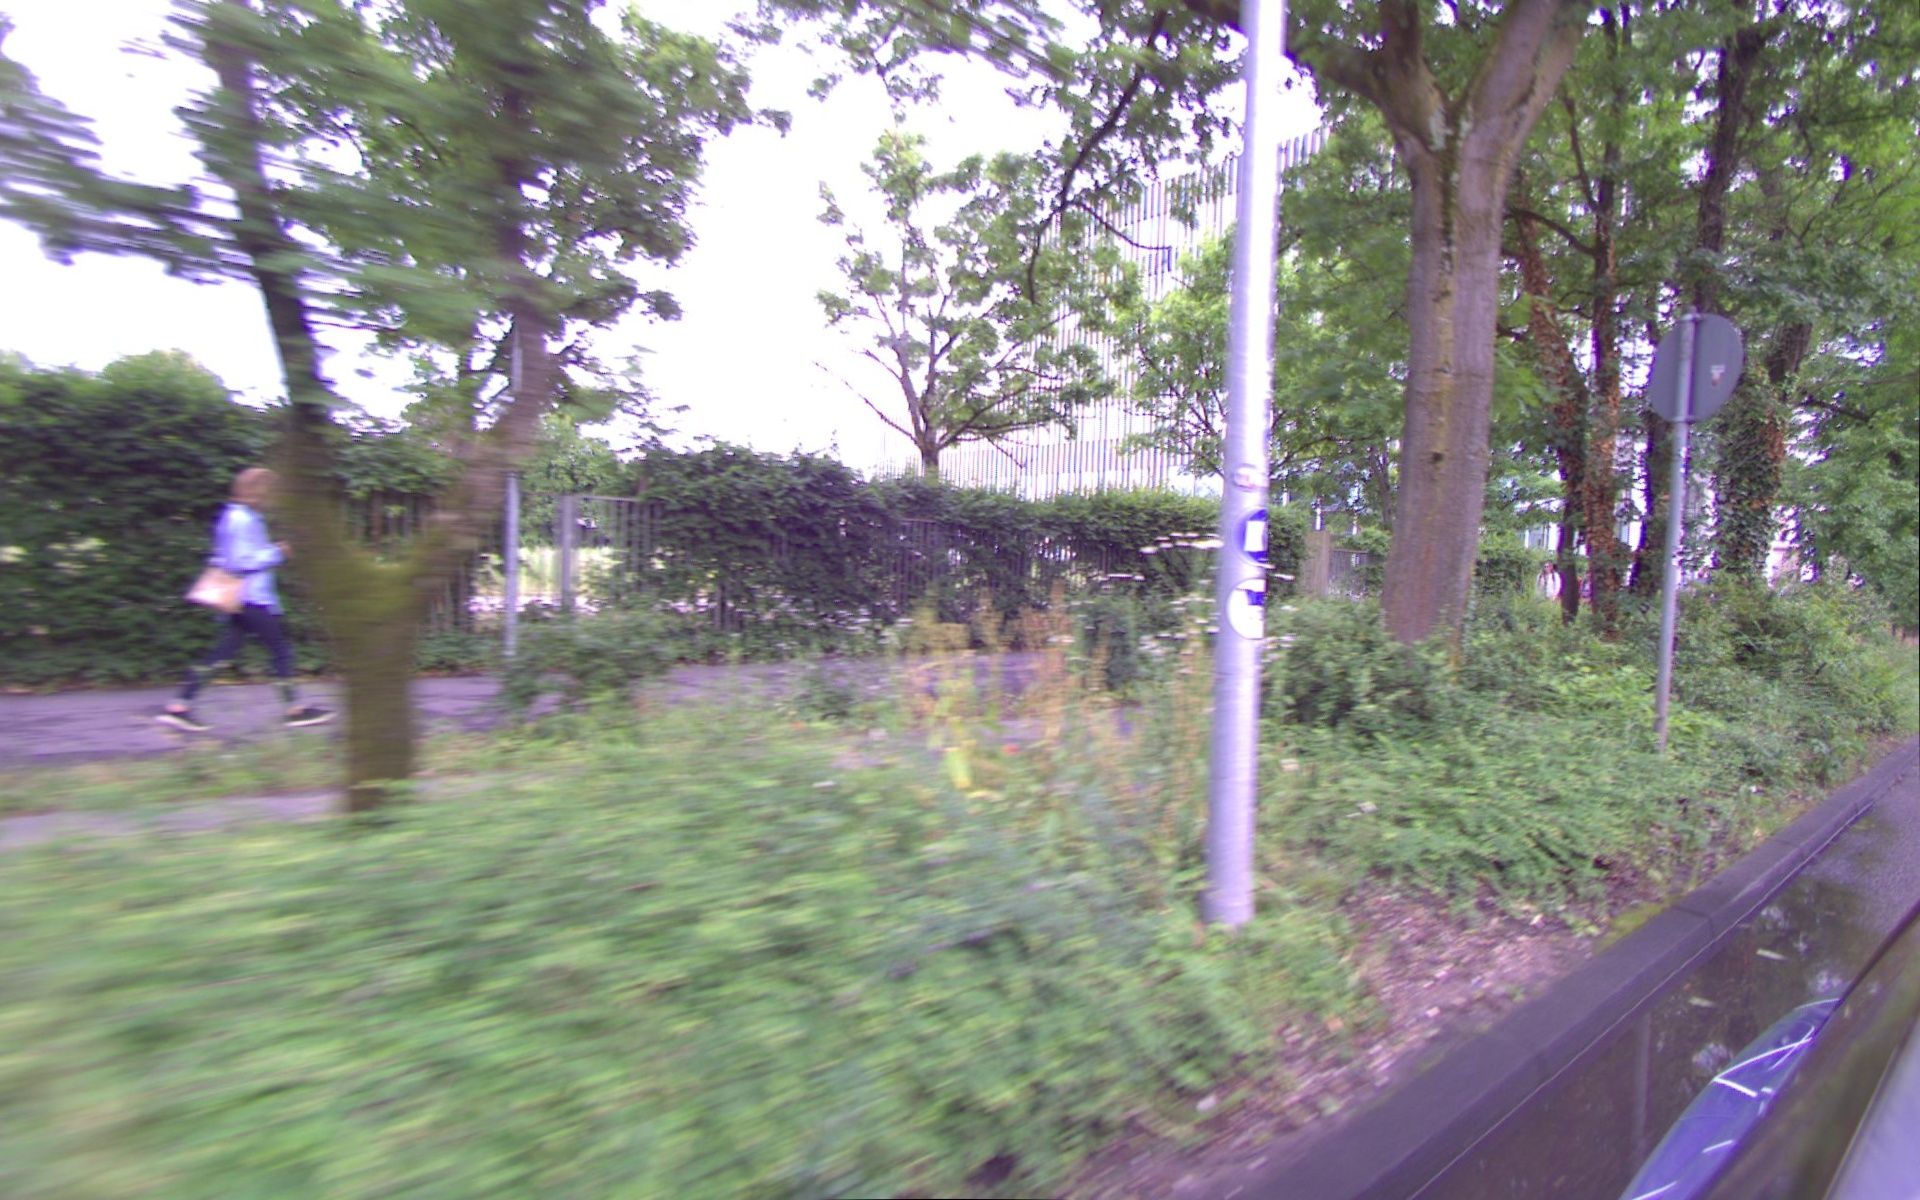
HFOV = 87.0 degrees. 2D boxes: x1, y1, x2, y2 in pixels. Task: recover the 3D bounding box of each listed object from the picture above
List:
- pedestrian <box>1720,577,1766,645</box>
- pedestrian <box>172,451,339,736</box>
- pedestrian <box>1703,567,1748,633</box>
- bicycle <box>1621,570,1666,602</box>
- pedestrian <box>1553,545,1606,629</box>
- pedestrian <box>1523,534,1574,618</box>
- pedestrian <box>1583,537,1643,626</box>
[{"bbox_3d":[24.594,0.336,31.776,1.023,2.038,0.926,0,3,-45],"label":"pedestrian"},{"bbox_3d":[-4.472,-0.053,6.424,0.806,1.671,0.574,0,3,-41],"label":"pedestrian"},{"bbox_3d":[24.470,-0.001,32.366,1.023,2.038,0.926,0,3,-45],"label":"pedestrian"},{"bbox_3d":[32.414,-0.675,47.989,0.453,1.349,1.657,1,5,-27],"label":"bicycle"},{"bbox_3d":[15.584,-0.326,25.469,0.708,2.038,0.826,0,4,-41],"label":"pedestrian"},{"bbox_3d":[14.738,-0.616,25.347,0.708,2.038,0.825,0,3,-41],"label":"pedestrian"},{"bbox_3d":[15.660,-0.454,24.258,1.023,2.038,0.926,0,3,-45],"label":"pedestrian"}]
